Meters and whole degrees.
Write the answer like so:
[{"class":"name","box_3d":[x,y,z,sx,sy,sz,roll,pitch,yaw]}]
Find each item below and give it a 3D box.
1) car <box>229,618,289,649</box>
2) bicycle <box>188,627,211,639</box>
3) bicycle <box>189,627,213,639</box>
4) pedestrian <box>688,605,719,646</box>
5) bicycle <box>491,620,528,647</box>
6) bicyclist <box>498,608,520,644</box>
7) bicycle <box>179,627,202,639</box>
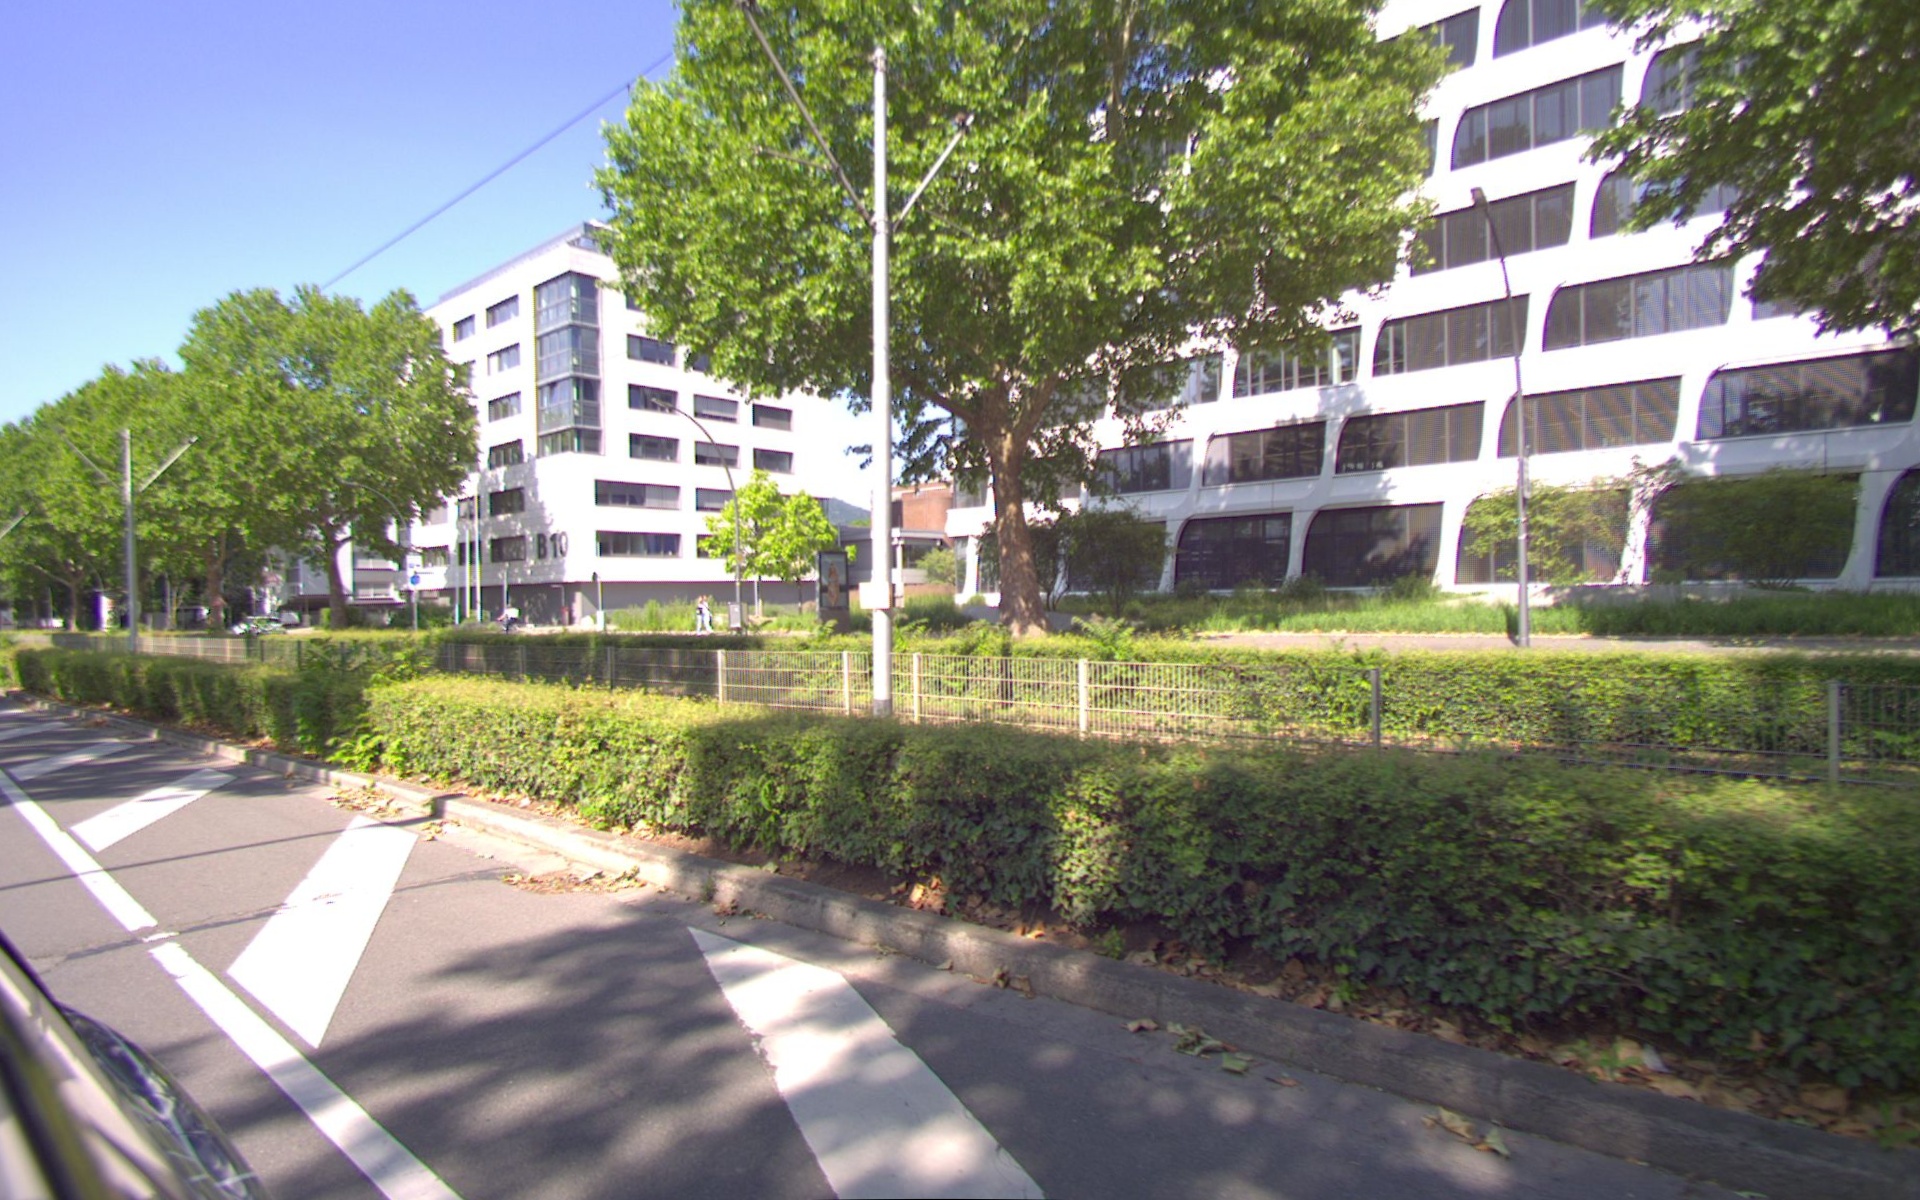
[{"class":"car","box_3d":[-38.482,1.848,55.528,4.016,1.581,1.738,-2,0,41]},{"class":"bicycle","box_3d":[-73.302,3.187,97.537,0.421,1.111,1.749,-2,0,38]},{"class":"bicycle","box_3d":[-72.946,3.177,97.241,0.421,1.111,1.749,-2,0,38]},{"class":"pedestrian","box_3d":[-10.225,0.998,40.351,1.014,1.600,0.713,-2,0,41]},{"class":"bicycle","box_3d":[-19.711,1.458,44.259,2.030,1.132,0.657,-2,0,41]},{"class":"bicyclist","box_3d":[-19.728,1.127,44.257,0.640,1.546,0.647,-2,0,41]},{"class":"bicycle","box_3d":[-75.234,3.241,98.929,0.421,1.111,1.749,-2,0,38]}]
